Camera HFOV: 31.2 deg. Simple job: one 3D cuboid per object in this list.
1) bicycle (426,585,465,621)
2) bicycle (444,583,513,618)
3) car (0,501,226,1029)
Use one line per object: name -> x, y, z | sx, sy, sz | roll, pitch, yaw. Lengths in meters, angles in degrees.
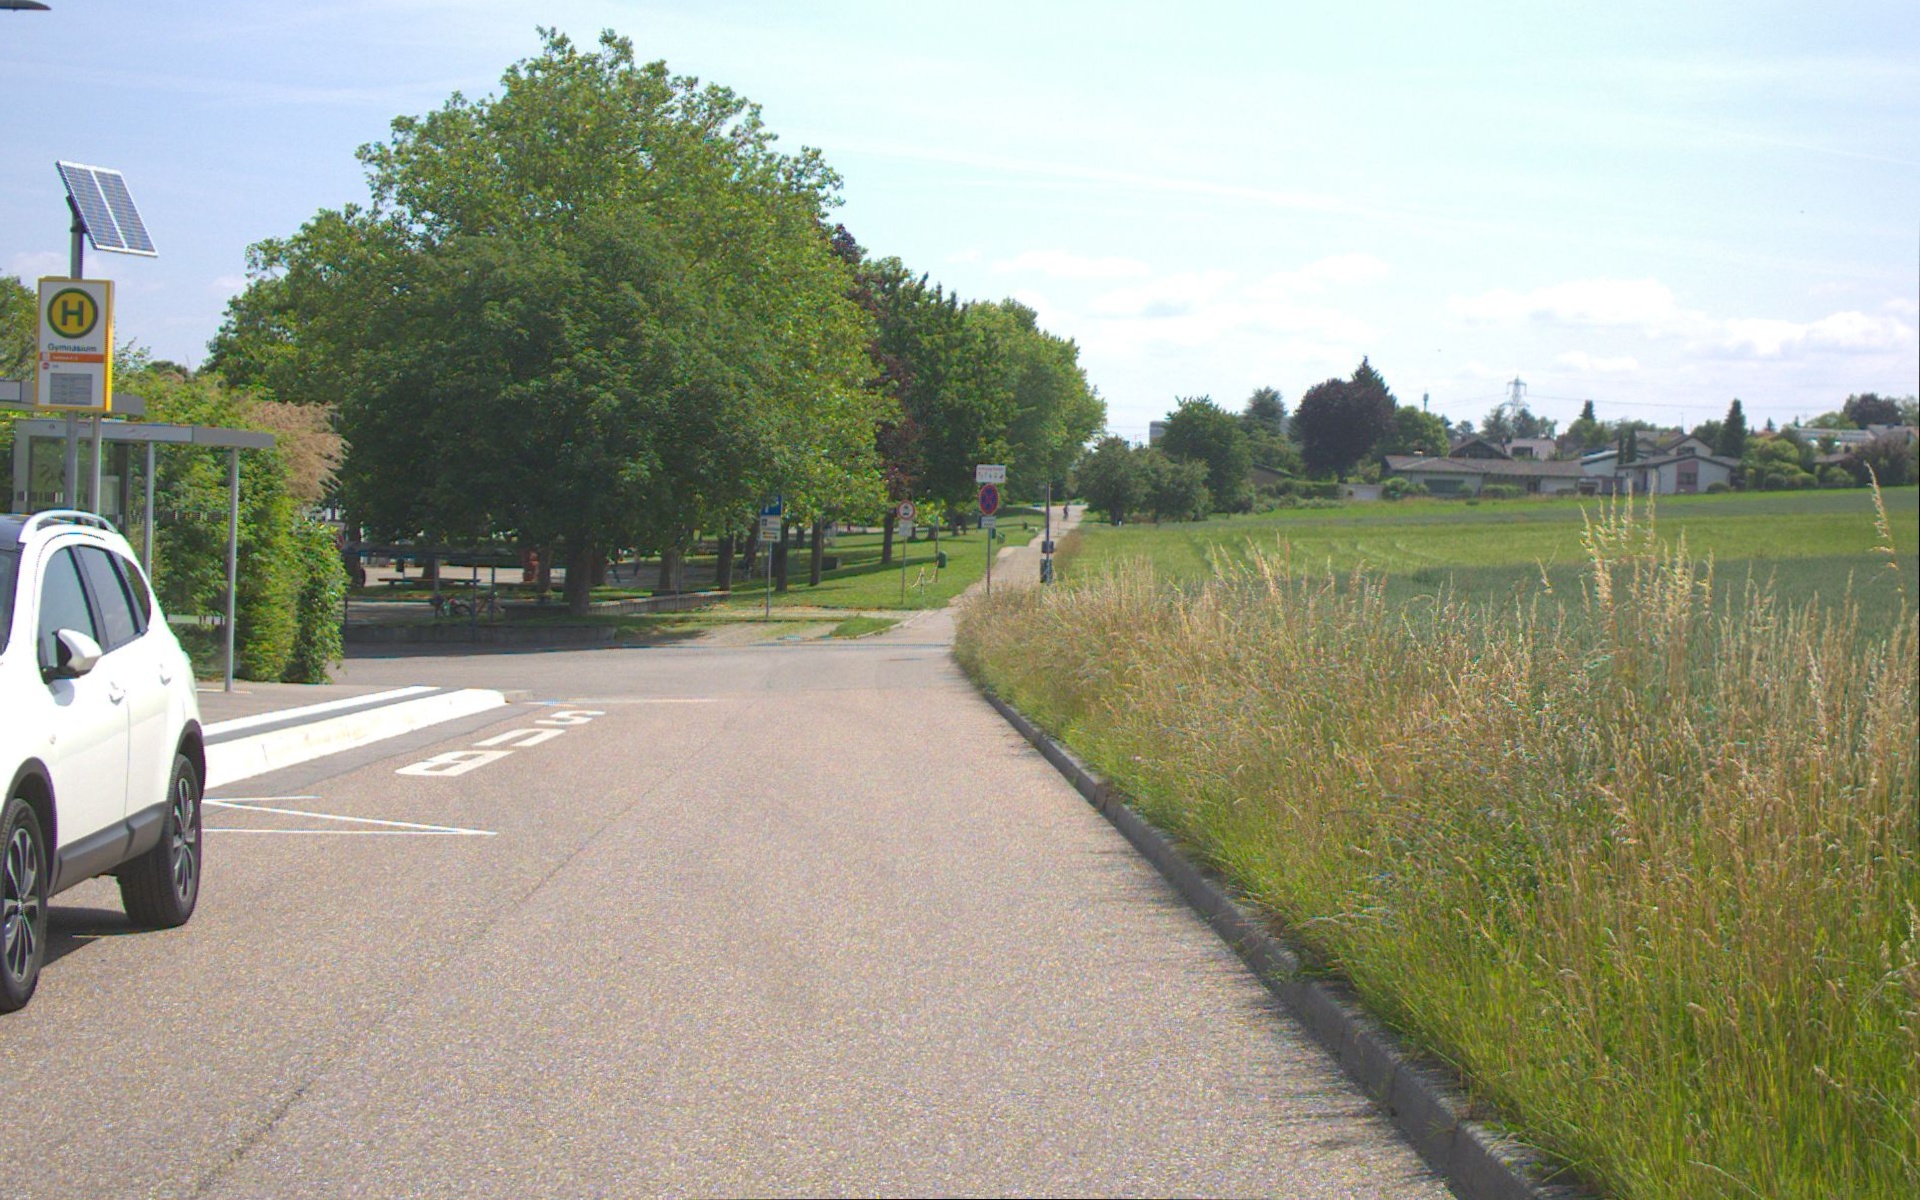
bicycle -> -15.491, 0.084, 103.522 | 0.595, 1.035, 1.892 | 0, 1, 9
bicycle -> -14.763, 0.002, 105.485 | 2.062, 1.035, 0.572 | -1, 1, -6
car -> -3.877, 0.487, 12.209 | 1.734, 1.627, 4.353 | 1, 0, -2
